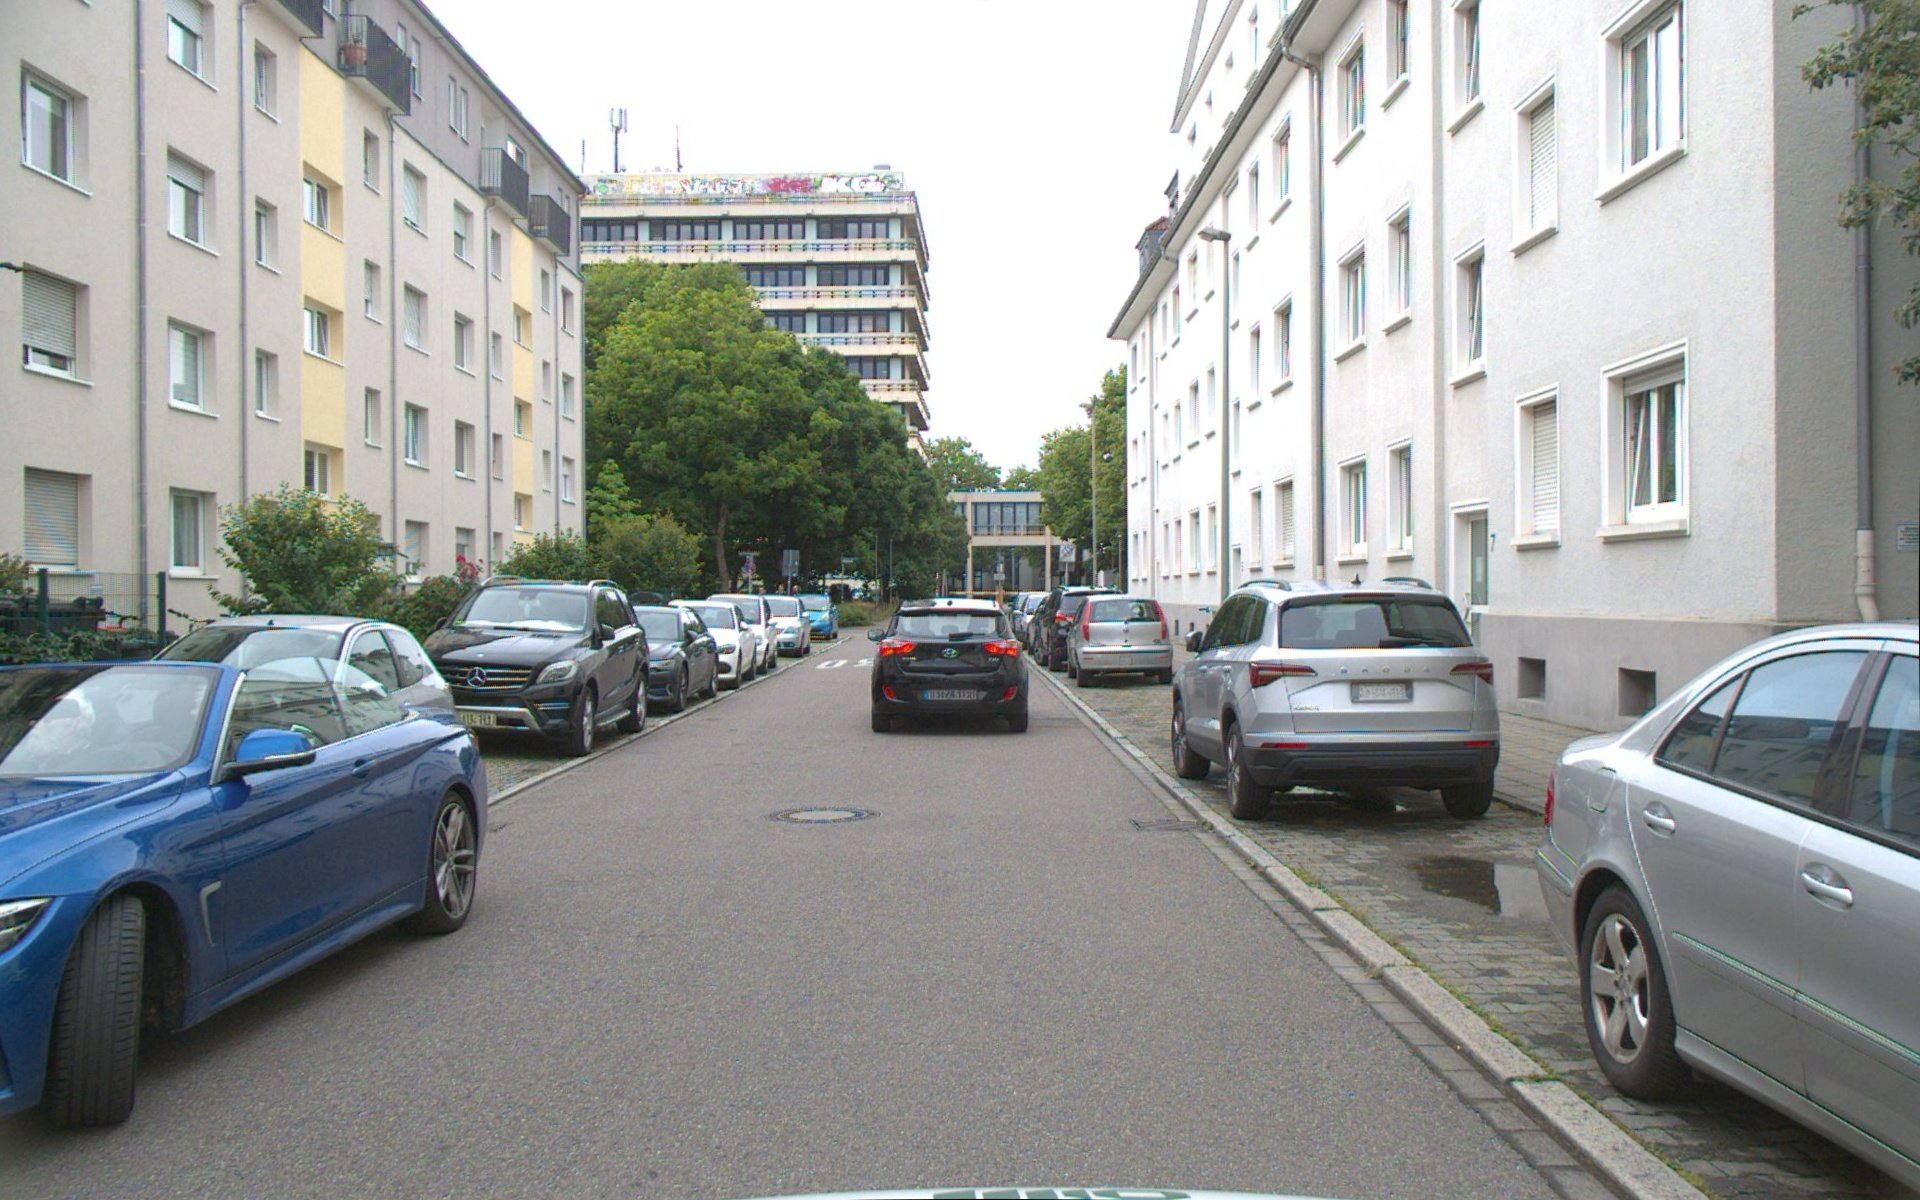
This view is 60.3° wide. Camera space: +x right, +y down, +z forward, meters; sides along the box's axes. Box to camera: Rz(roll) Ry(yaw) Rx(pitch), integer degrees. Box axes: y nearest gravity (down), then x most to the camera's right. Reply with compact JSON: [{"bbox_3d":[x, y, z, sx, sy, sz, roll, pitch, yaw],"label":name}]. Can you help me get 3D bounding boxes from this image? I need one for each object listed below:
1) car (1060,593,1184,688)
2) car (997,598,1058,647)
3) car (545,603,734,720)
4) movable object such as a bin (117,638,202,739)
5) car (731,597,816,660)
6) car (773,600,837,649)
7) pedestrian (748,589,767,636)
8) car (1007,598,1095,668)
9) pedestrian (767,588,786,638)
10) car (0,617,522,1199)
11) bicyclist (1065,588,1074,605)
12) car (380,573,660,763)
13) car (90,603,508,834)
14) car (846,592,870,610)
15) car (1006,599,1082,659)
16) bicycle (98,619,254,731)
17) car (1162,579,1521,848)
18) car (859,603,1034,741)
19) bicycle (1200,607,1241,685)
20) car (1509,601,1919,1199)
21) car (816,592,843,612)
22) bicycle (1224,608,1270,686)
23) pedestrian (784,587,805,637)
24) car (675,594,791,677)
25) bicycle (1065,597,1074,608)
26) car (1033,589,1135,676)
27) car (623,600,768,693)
[{"bbox_3d":[2.725,0.649,28.691,1.783,1.529,4.091,0,0,0],"label":"car"},{"bbox_3d":[2.243,0.745,56.031,1.783,1.546,4.672,-1,-1,-1],"label":"car"},{"bbox_3d":[-4.601,0.828,24.423,1.856,1.477,4.666,2,0,0],"label":"car"},{"bbox_3d":[-8.075,0.887,16.704,0.540,0.971,0.635,-1,0,-1],"label":"movable object such as a bin"},{"bbox_3d":[-4.934,0.732,44.180,1.954,1.568,3.998,1,0,-3],"label":"car"},{"bbox_3d":[-5.266,0.813,56.532,1.954,1.568,3.998,1,0,-3],"label":"car"},{"bbox_3d":[-7.595,0.476,62.086,0.588,1.743,0.648,0,0,1],"label":"pedestrian"},{"bbox_3d":[2.114,0.737,39.466,1.783,1.546,4.672,0,0,-1],"label":"car"},{"bbox_3d":[-6.910,0.497,62.350,0.592,1.863,0.675,0,0,1],"label":"pedestrian"},{"bbox_3d":[-3.224,0.838,6.368,1.807,1.476,4.501,1,0,1],"label":"car"},{"bbox_3d":[9.584,-0.293,144.698,0.679,1.469,0.795,0,0,0],"label":"bicyclist"},{"bbox_3d":[-4.673,0.659,18.271,1.856,1.770,4.474,2,0,0],"label":"car"},{"bbox_3d":[-4.848,0.777,12.724,1.709,1.490,3.785,0,0,0],"label":"car"},{"bbox_3d":[-7.882,0.048,128.164,1.632,1.356,3.395,0,0,0],"label":"car"},{"bbox_3d":[2.254,0.754,45.504,1.783,1.546,4.672,0,0,-1],"label":"car"},{"bbox_3d":[-9.458,0.869,20.060,0.772,1.233,2.355,0,0,0],"label":"bicycle"},{"bbox_3d":[2.648,0.713,12.441,1.783,1.671,4.091,1,0,0],"label":"car"},{"bbox_3d":[-0.133,0.774,19.772,1.864,1.458,4.233,0,0,0],"label":"car"},{"bbox_3d":[4.224,0.732,26.925,0.519,1.196,2.038,-1,0,6],"label":"bicycle"},{"bbox_3d":[2.876,0.767,3.852,1.690,1.502,4.504,1,0,0],"label":"car"},{"bbox_3d":[-9.018,0.116,114.719,1.632,1.356,3.395,0,0,0],"label":"car"},{"bbox_3d":[4.649,0.738,26.893,0.564,1.196,2.038,-1,0,5],"label":"bicycle"},{"bbox_3d":[-6.199,0.448,62.043,0.699,1.863,0.797,0,0,1],"label":"pedestrian"},{"bbox_3d":[-4.855,0.726,35.910,1.856,1.627,4.520,2,0,0],"label":"car"},{"bbox_3d":[9.585,0.221,144.584,0.678,1.014,1.735,0,0,1],"label":"bicycle"},{"bbox_3d":[2.427,0.610,33.190,1.783,1.631,4.091,0,0,0],"label":"car"},{"bbox_3d":[-4.673,0.781,29.823,1.856,1.477,4.520,2,0,0],"label":"car"}]
